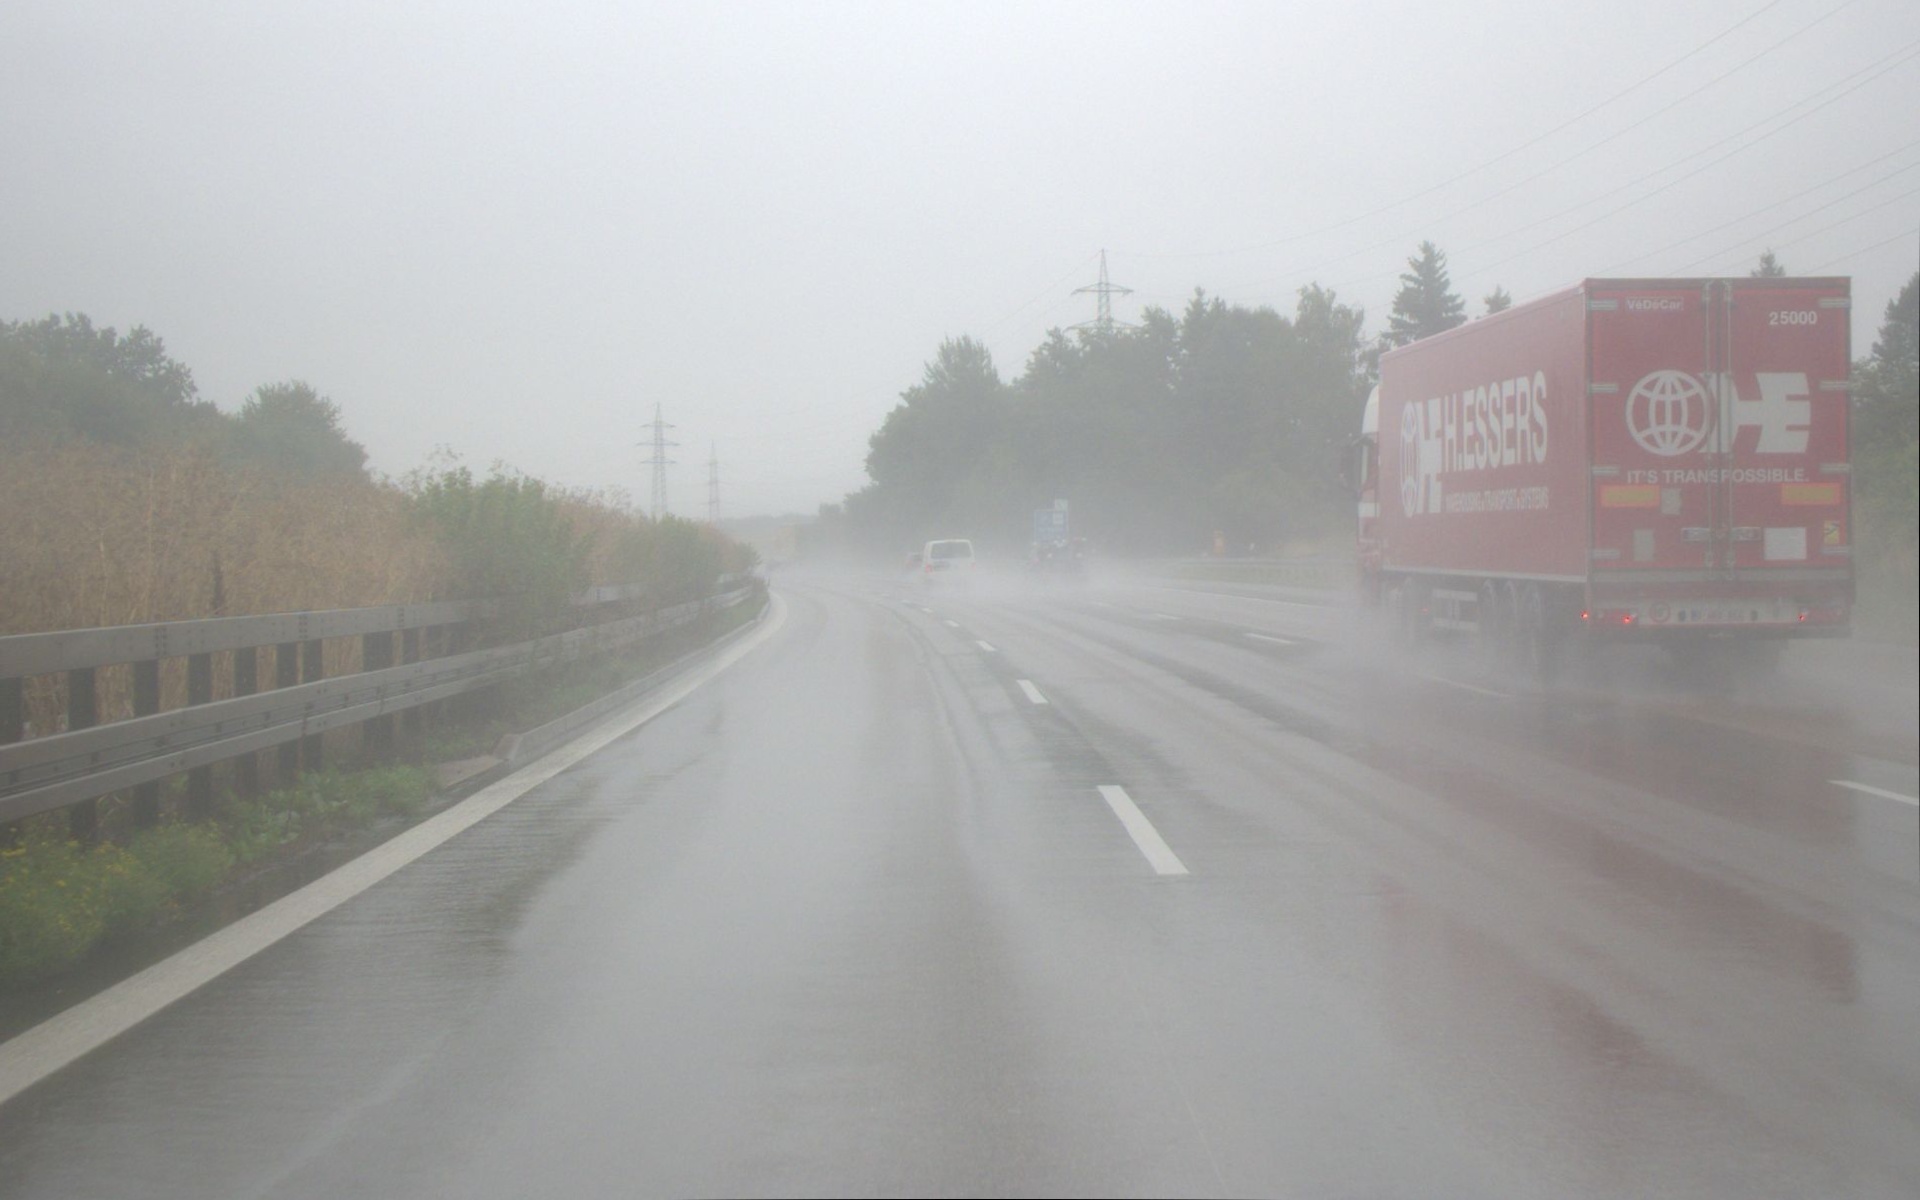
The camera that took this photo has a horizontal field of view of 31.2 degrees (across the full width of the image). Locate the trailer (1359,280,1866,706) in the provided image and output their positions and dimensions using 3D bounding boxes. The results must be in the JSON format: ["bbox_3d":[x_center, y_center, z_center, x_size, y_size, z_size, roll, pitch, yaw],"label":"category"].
[{"bbox_3d":[7.006,-1.115,39.530,2.620,3.941,13.632,-2,1,-2],"label":"trailer"}]

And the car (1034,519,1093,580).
[{"bbox_3d":[3.800,-1.868,126.473,1.807,2.151,4.001,-2,1,-3],"label":"car"}]

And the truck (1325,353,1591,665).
[{"bbox_3d":[6.760,-1.225,47.374,2.620,3.941,5.433,-2,1,-1],"label":"truck"}]
